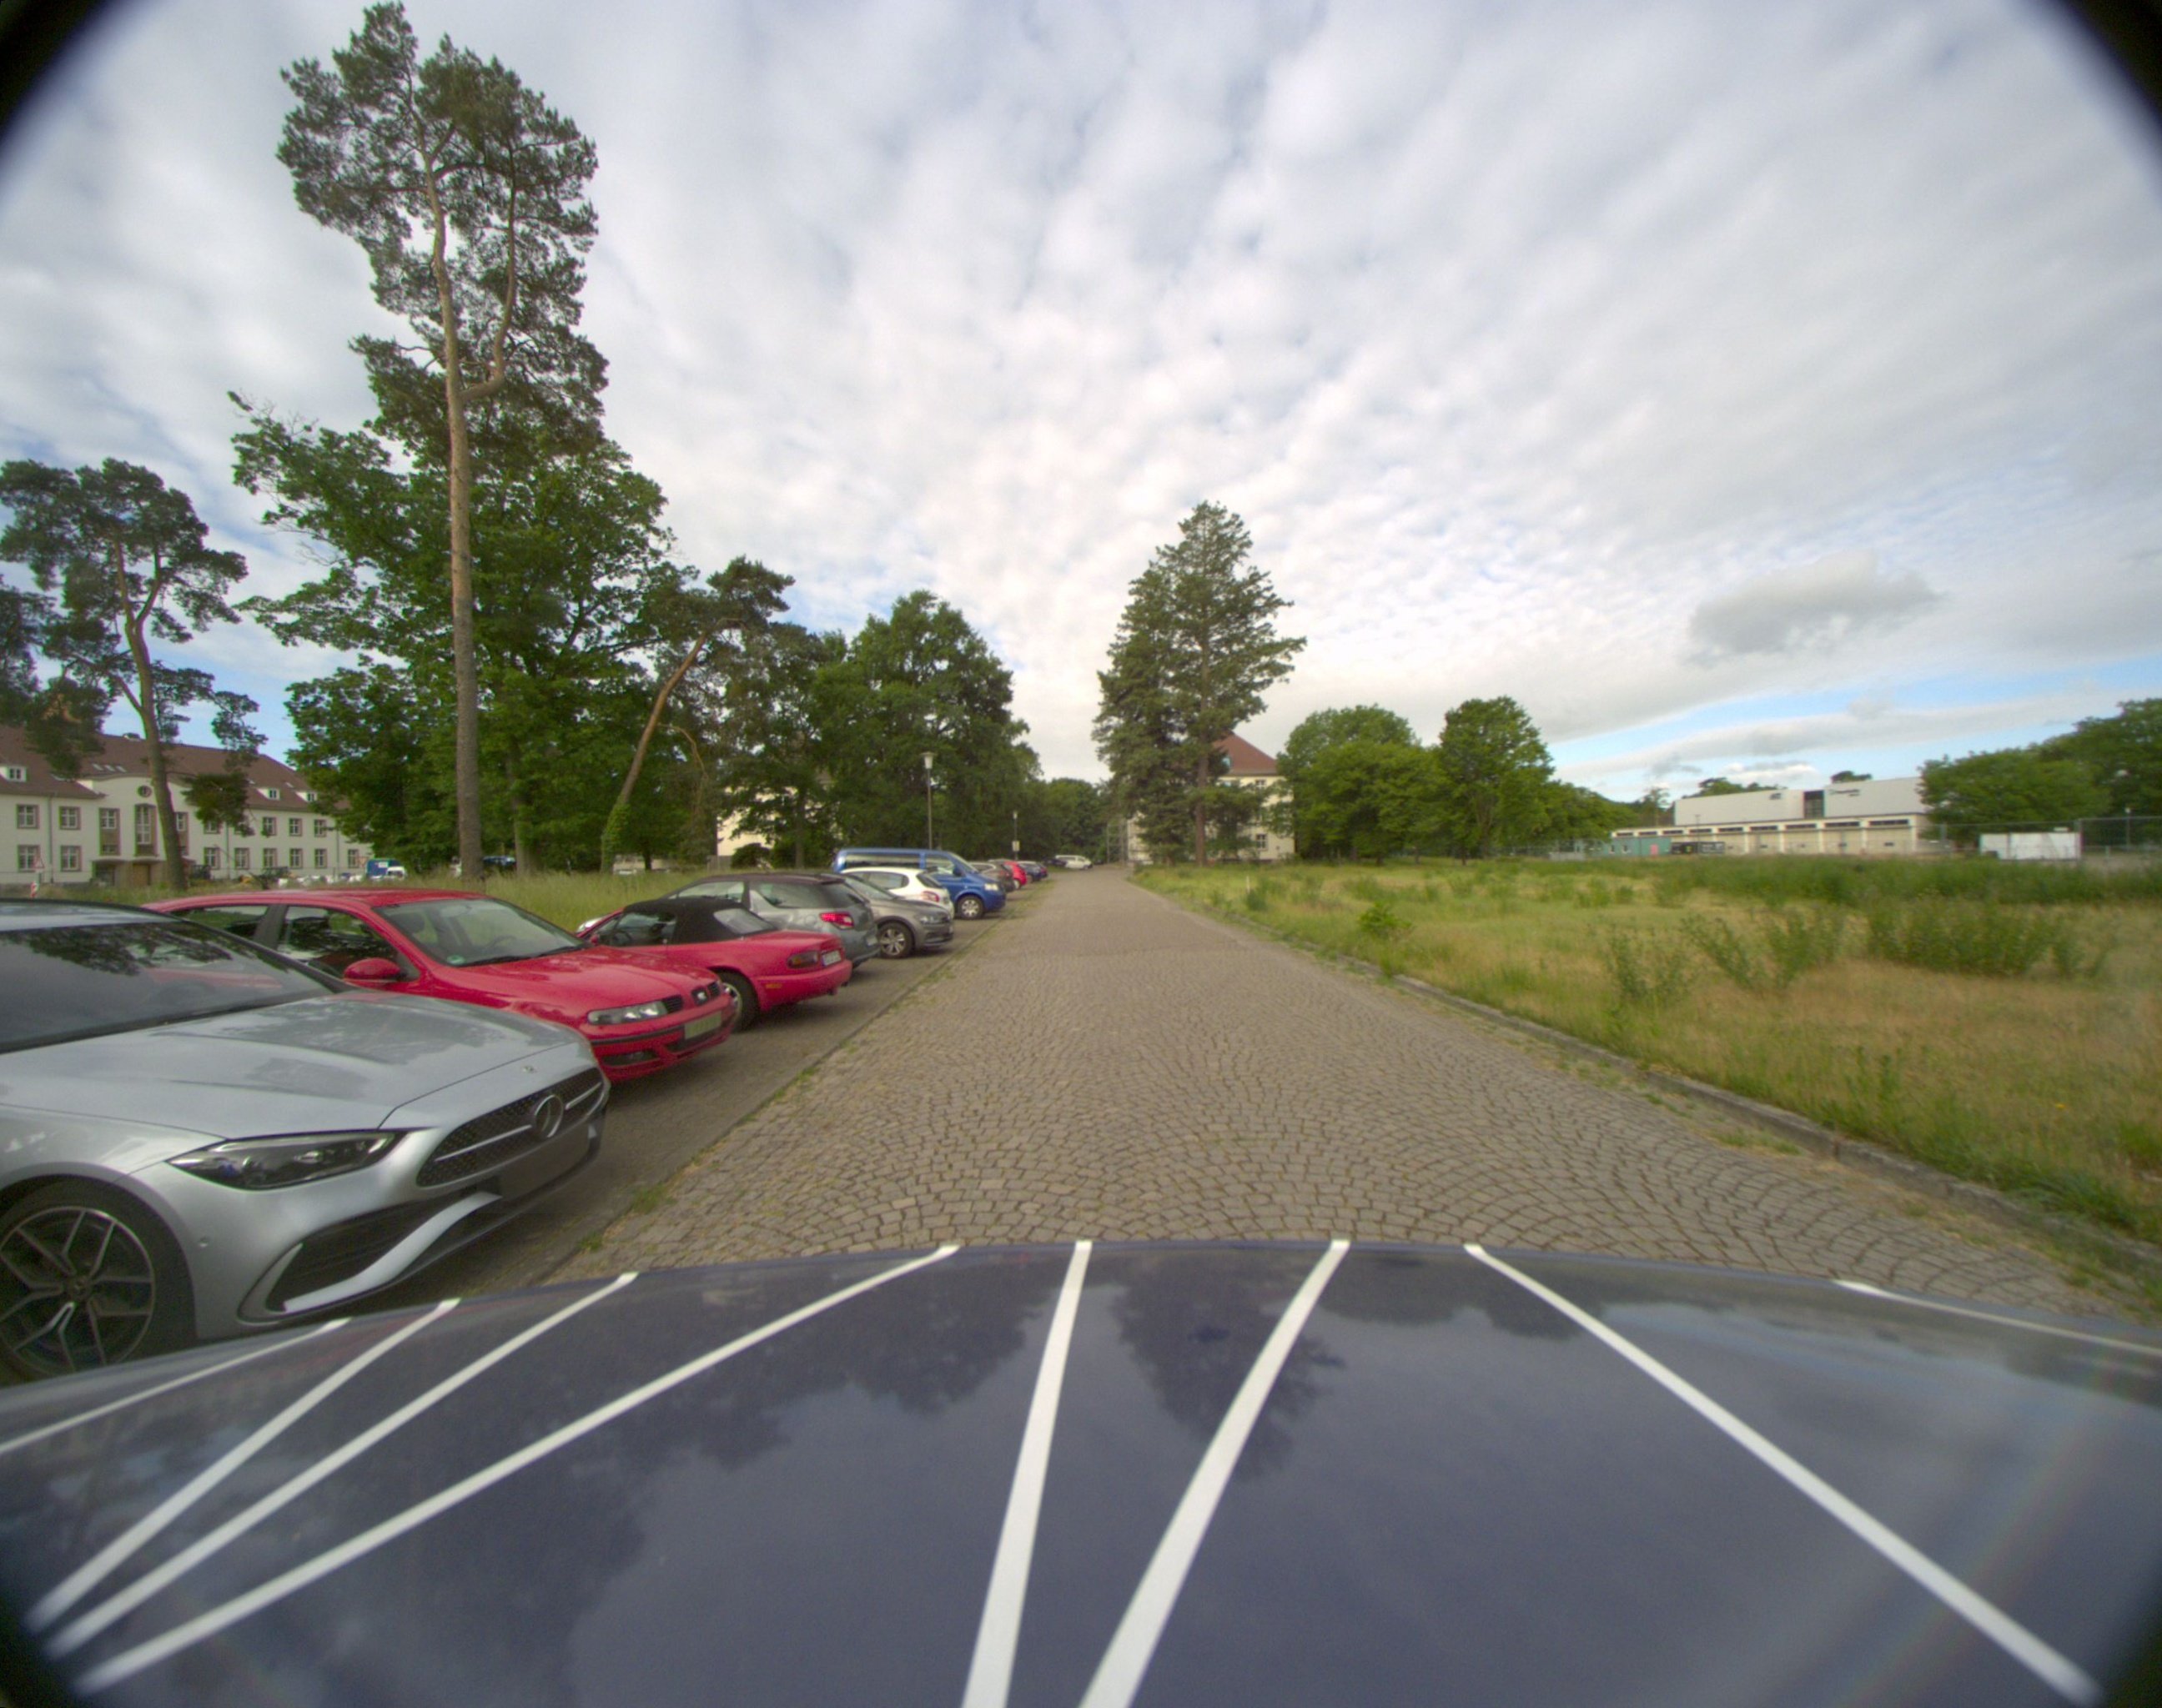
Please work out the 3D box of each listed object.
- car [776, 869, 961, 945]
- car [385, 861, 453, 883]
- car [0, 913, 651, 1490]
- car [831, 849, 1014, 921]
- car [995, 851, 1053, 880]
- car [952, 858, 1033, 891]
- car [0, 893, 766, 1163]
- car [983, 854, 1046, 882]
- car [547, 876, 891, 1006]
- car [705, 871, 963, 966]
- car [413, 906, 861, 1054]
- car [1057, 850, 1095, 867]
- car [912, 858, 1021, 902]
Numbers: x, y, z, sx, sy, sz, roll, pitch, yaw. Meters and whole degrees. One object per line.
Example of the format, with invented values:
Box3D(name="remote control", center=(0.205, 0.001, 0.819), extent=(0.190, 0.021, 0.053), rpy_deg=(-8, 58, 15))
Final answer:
Box3D(name="car", center=(-4.391, 1.077, 16.072), extent=(3.408, 1.443, 1.637), rpy_deg=(-1, 0, 1))
Box3D(name="car", center=(-68.007, 1.821, 78.171), extent=(2.153, 2.002, 5.225), rpy_deg=(-1, 0, 3))
Box3D(name="car", center=(-4.642, 1.083, 3.045), extent=(4.769, 1.474, 1.812), rpy_deg=(-1, 0, 0))
Box3D(name="car", center=(-4.359, 0.834, 21.495), extent=(4.749, 1.928, 2.000), rpy_deg=(0, 0, 0))
Box3D(name="car", center=(-4.149, 0.836, 55.413), extent=(3.996, 2.002, 2.000), rpy_deg=(-1, 0, 1))
Box3D(name="car", center=(-4.689, 1.089, 40.770), extent=(3.997, 1.521, 2.000), rpy_deg=(-3, 0, 0))
Box3D(name="car", center=(-4.608, 1.079, 5.386), extent=(3.972, 1.443, 1.800), rpy_deg=(-1, 0, 0))
Box3D(name="car", center=(-4.412, 0.941, 51.017), extent=(4.007, 1.752, 2.000), rpy_deg=(-1, 0, 1))
Box3D(name="car", center=(-4.717, 1.104, 10.361), extent=(3.787, 1.497, 1.799), rpy_deg=(-1, 0, -2))
Box3D(name="car", center=(-4.161, 1.076, 13.247), extent=(3.848, 1.448, 1.820), rpy_deg=(-1, 0, 3))
Box3D(name="car", center=(-4.243, 1.198, 7.625), extent=(3.600, 1.200, 1.495), rpy_deg=(-1, 0, 1))
Box3D(name="car", center=(-0.662, 0.611, 104.276), extent=(5.031, 2.164, 2.000), rpy_deg=(-1, 0, 2))
Box3D(name="car", center=(-4.511, 1.016, 30.437), extent=(3.997, 1.601, 2.000), rpy_deg=(-1, 0, 0))
